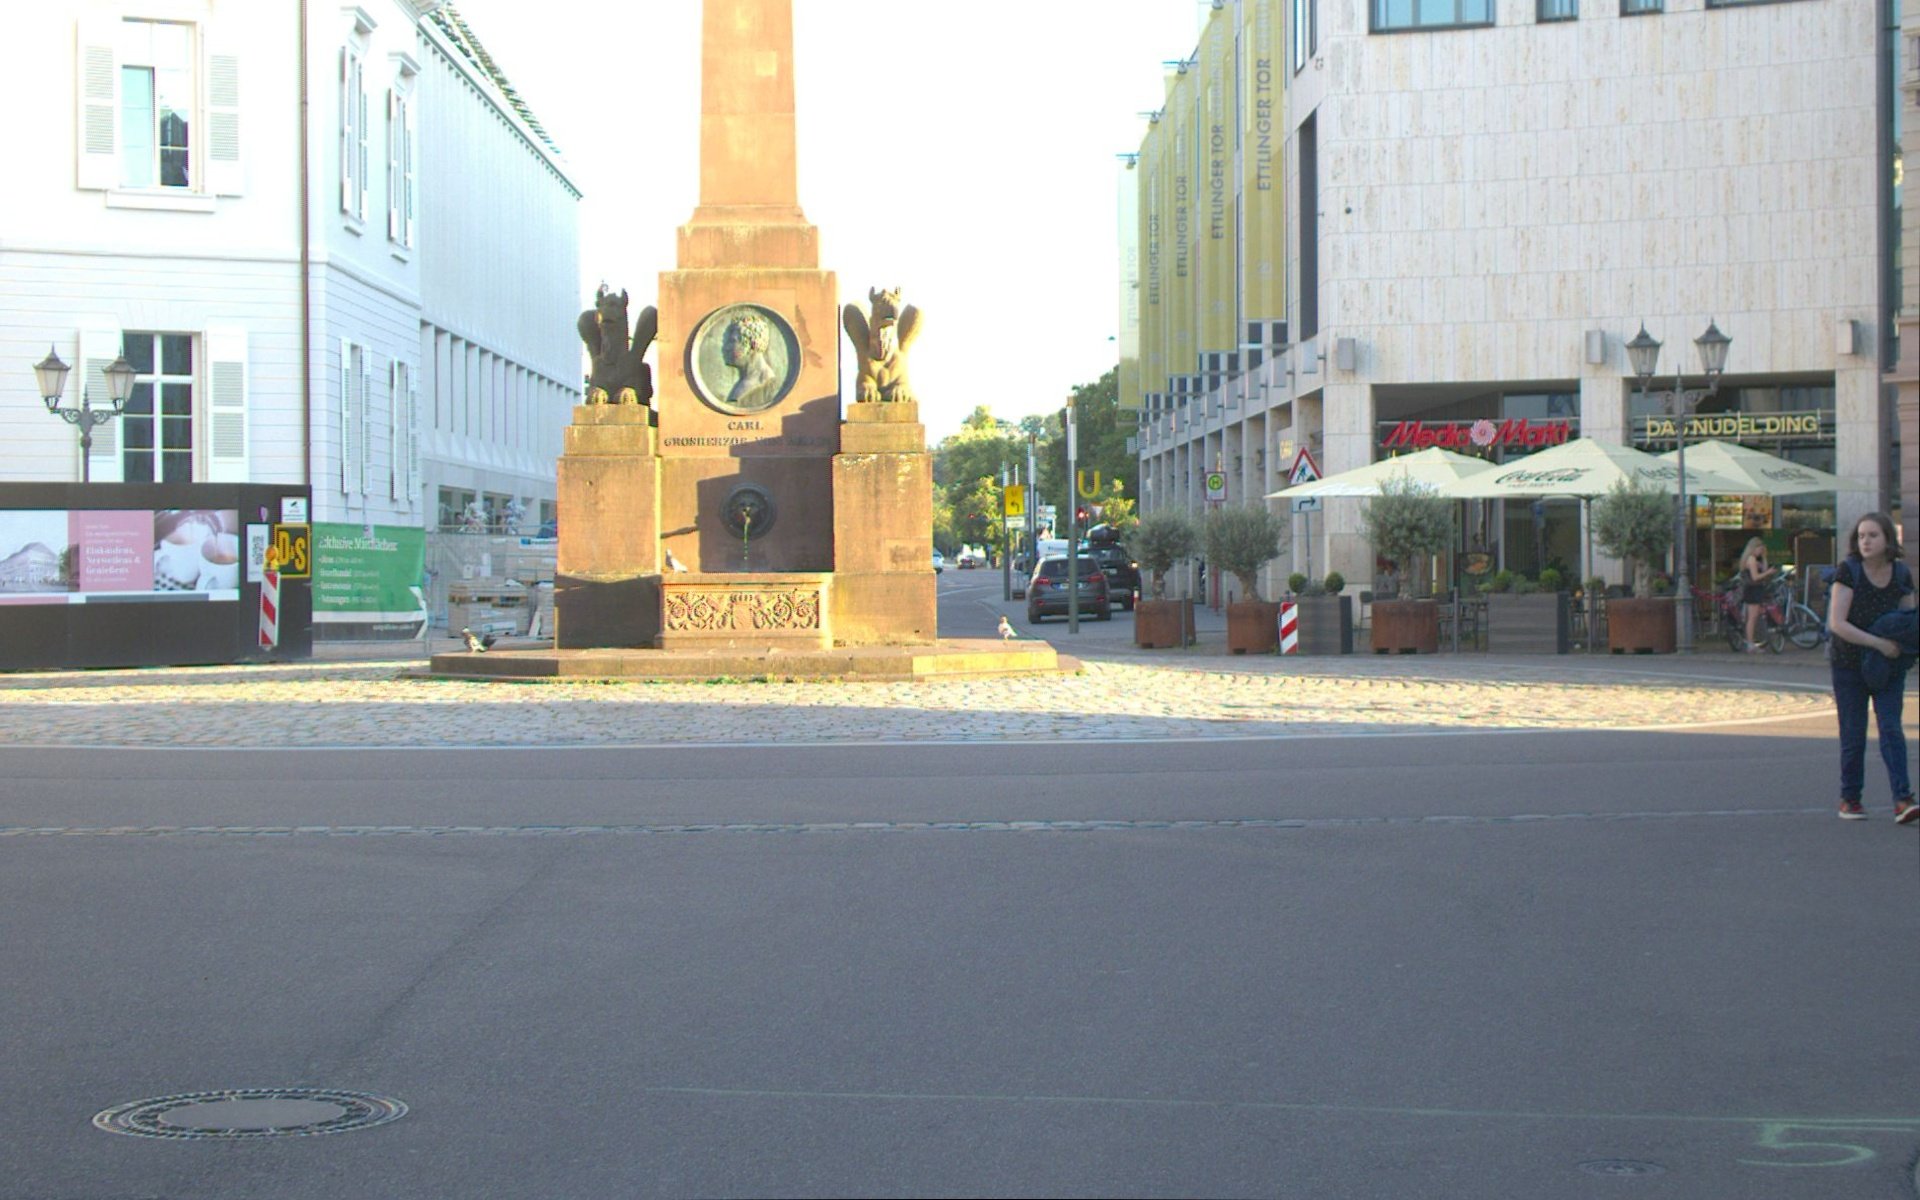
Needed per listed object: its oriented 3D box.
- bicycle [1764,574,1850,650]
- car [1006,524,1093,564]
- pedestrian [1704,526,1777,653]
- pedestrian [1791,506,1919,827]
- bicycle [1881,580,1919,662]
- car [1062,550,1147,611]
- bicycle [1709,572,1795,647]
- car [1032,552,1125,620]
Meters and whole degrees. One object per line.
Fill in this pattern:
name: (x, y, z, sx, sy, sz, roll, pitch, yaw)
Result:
bicycle: (11.910, 0.162, 48.314, 0.620, 1.028, 1.642, 0, 1, 35)
car: (4.566, -2.845, 175.958, 3.995, 2.007, 1.996, 0, 1, 37)
pedestrian: (10.743, -0.149, 47.362, 0.905, 1.722, 0.849, 0, 1, 8)
pedestrian: (4.766, 0.333, 17.920, 0.690, 1.642, 0.696, 0, 1, -1)
bicycle: (12.555, 0.265, 44.827, 0.507, 1.028, 1.642, 0, 1, 35)
car: (3.542, -0.510, 84.946, 1.993, 1.459, 4.000, 0, 1, 1)
bicycle: (11.235, 0.132, 48.749, 0.601, 1.028, 1.642, 0, 1, 35)
car: (2.614, -0.329, 76.478, 1.993, 1.459, 4.000, 0, 1, 1)
